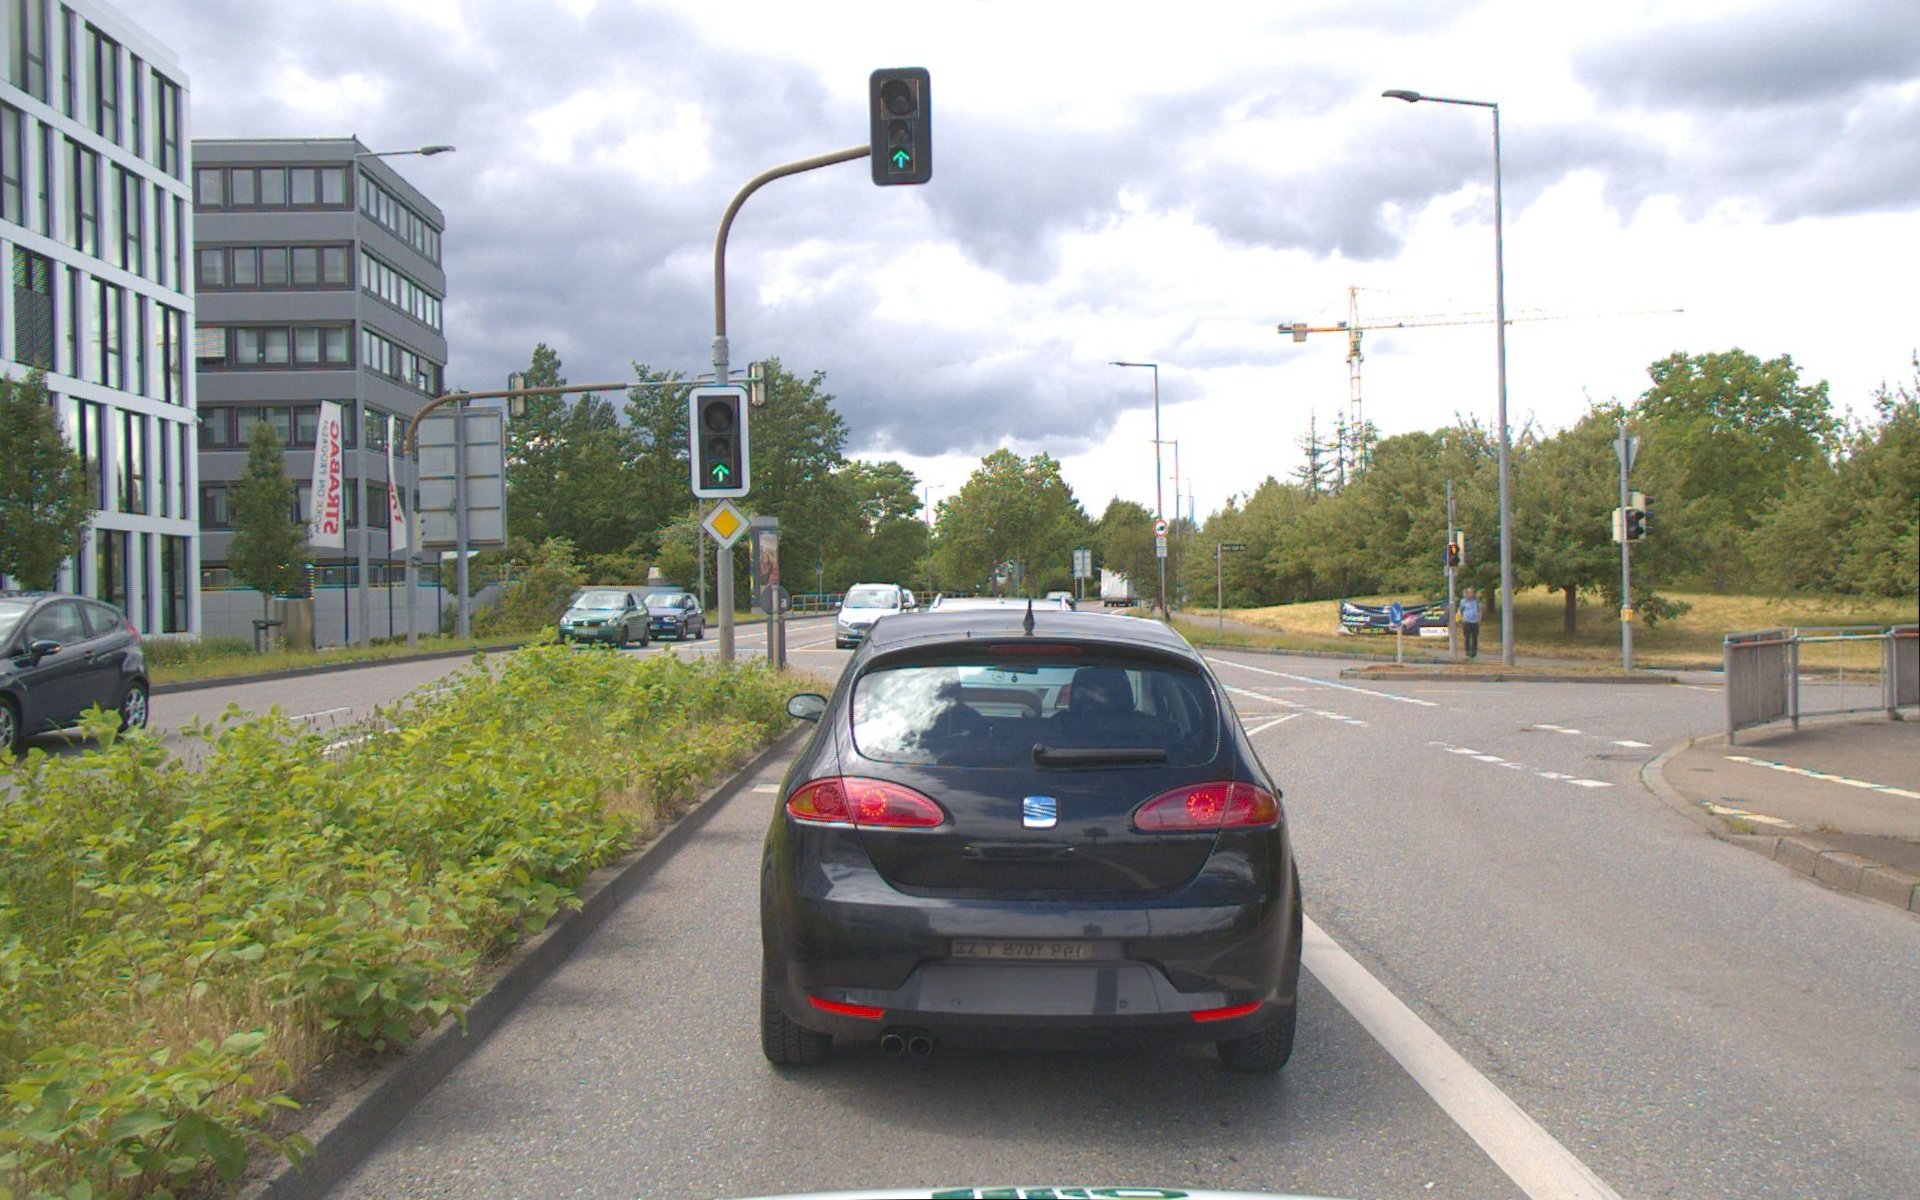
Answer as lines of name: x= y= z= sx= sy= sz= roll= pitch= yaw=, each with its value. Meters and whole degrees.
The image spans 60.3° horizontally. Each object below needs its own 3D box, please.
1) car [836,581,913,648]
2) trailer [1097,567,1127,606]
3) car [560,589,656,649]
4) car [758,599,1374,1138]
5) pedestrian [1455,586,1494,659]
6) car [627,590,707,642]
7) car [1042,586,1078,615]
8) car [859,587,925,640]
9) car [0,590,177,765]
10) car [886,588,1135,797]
car: x=-2.296 y=0.352 z=45.437 sx=1.783 sy=1.716 sz=4.646 roll=1 pitch=1 yaw=1
trailer: x=12.793 y=-1.084 z=138.883 sx=2.438 sy=3.127 sz=5.590 roll=1 pitch=0 yaw=6
car: x=-9.010 y=0.452 z=42.579 sx=1.572 sy=1.457 sz=3.753 roll=0 pitch=0 yaw=1
car: x=0.274 y=0.739 z=6.266 sx=1.676 sy=1.442 sz=3.459 roll=1 pitch=0 yaw=-1
pedestrian: x=13.063 y=0.556 z=42.031 sx=0.703 sy=1.824 sz=1.044 roll=1 pitch=0 yaw=3
car: x=-8.686 y=0.441 z=49.294 sx=1.521 sy=1.444 sz=3.897 roll=0 pitch=1 yaw=3
car: x=5.514 y=0.026 z=91.846 sx=1.952 sy=1.593 sz=4.472 roll=0 pitch=0 yaw=3
car: x=-2.075 y=0.389 z=51.484 sx=1.625 sy=1.545 sz=4.086 roll=1 pitch=1 yaw=3
car: x=-8.956 y=0.644 z=15.186 sx=1.718 sy=1.471 sz=3.891 roll=1 pitch=0 yaw=-1
car: x=0.383 y=0.681 z=13.954 sx=1.797 sy=1.493 sz=3.751 roll=1 pitch=0 yaw=0
